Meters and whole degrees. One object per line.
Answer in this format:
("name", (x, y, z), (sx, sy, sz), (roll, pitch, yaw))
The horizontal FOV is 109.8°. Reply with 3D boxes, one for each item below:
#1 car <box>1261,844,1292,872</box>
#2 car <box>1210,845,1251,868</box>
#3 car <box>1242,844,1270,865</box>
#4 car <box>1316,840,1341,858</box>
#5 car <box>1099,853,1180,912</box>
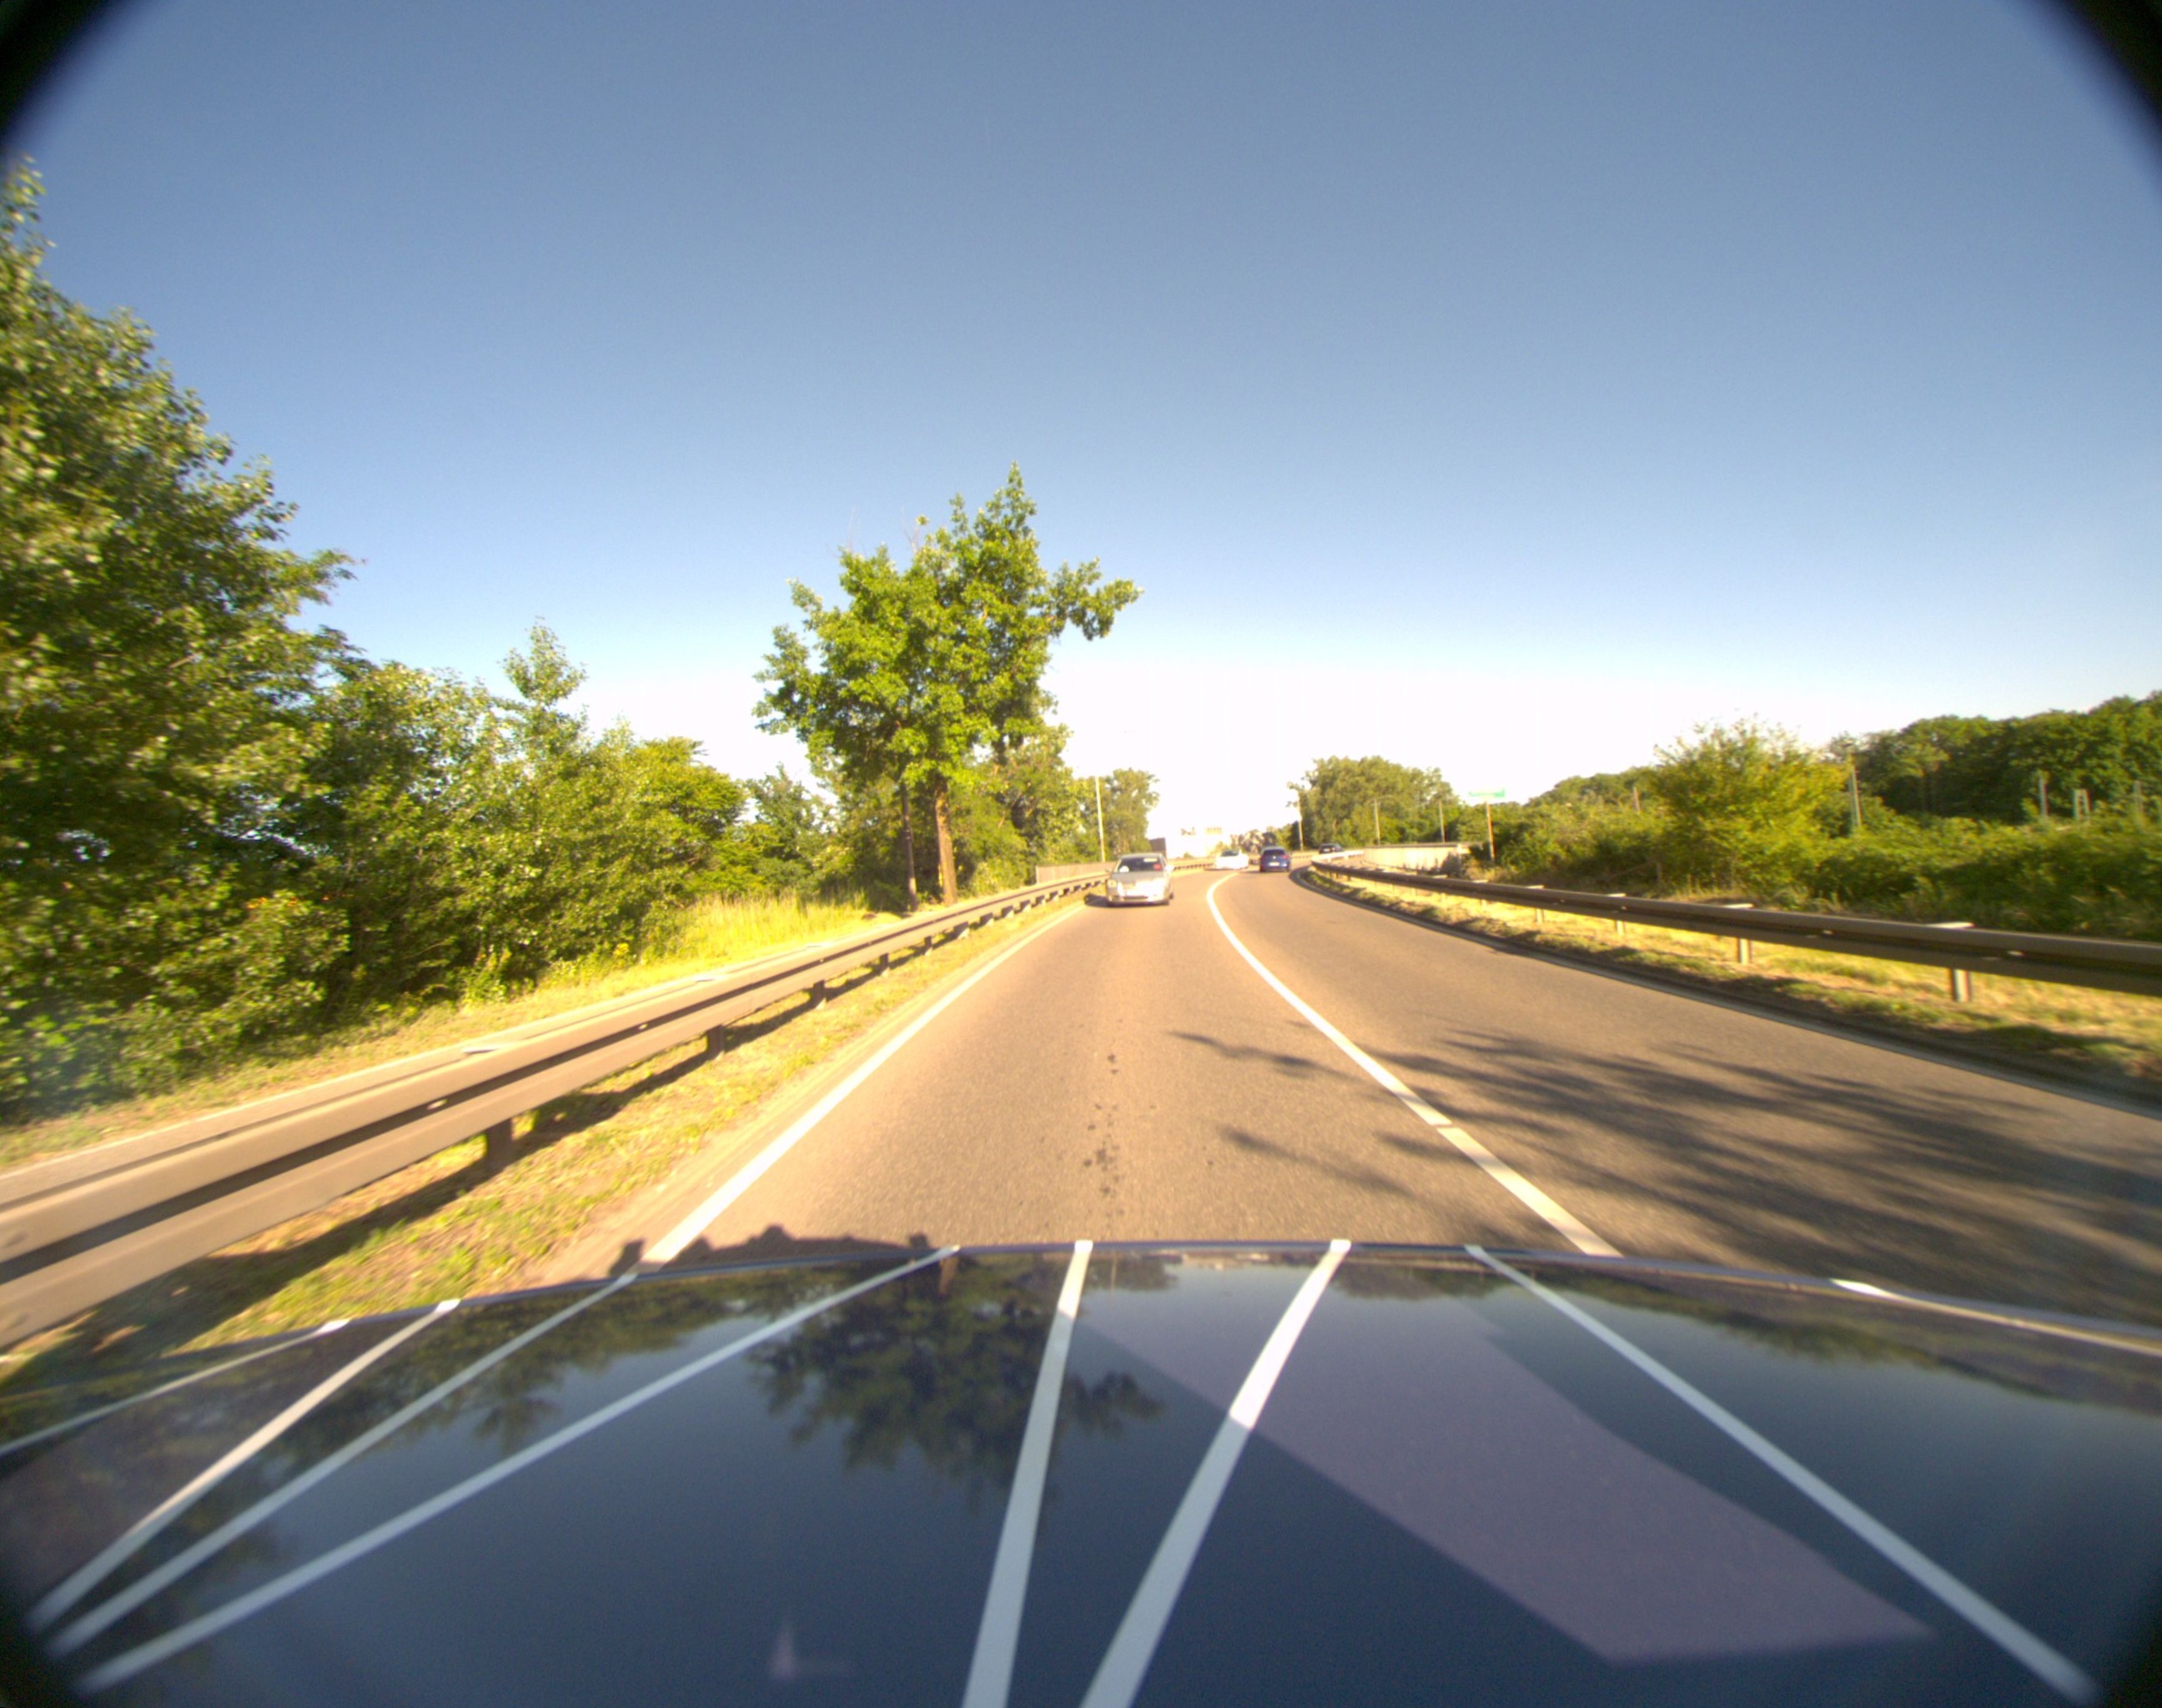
("car", (11.508, 0.202, 44.715), (1.681, 1.442, 4.004), (-3, 1, 15))
("car", (10.778, 0.158, 54.618), (2.146, 1.558, 4.204), (-2, 1, 22))
("car", (16.203, 0.042, 70.360), (1.680, 1.694, 3.611), (-2, 1, 26))
("car", (25.047, -0.496, 76.768), (1.680, 1.646, 3.865), (-2, 1, 29))
("car", (1.787, 0.761, 22.037), (1.681, 1.433, 3.862), (-3, 1, 14))
